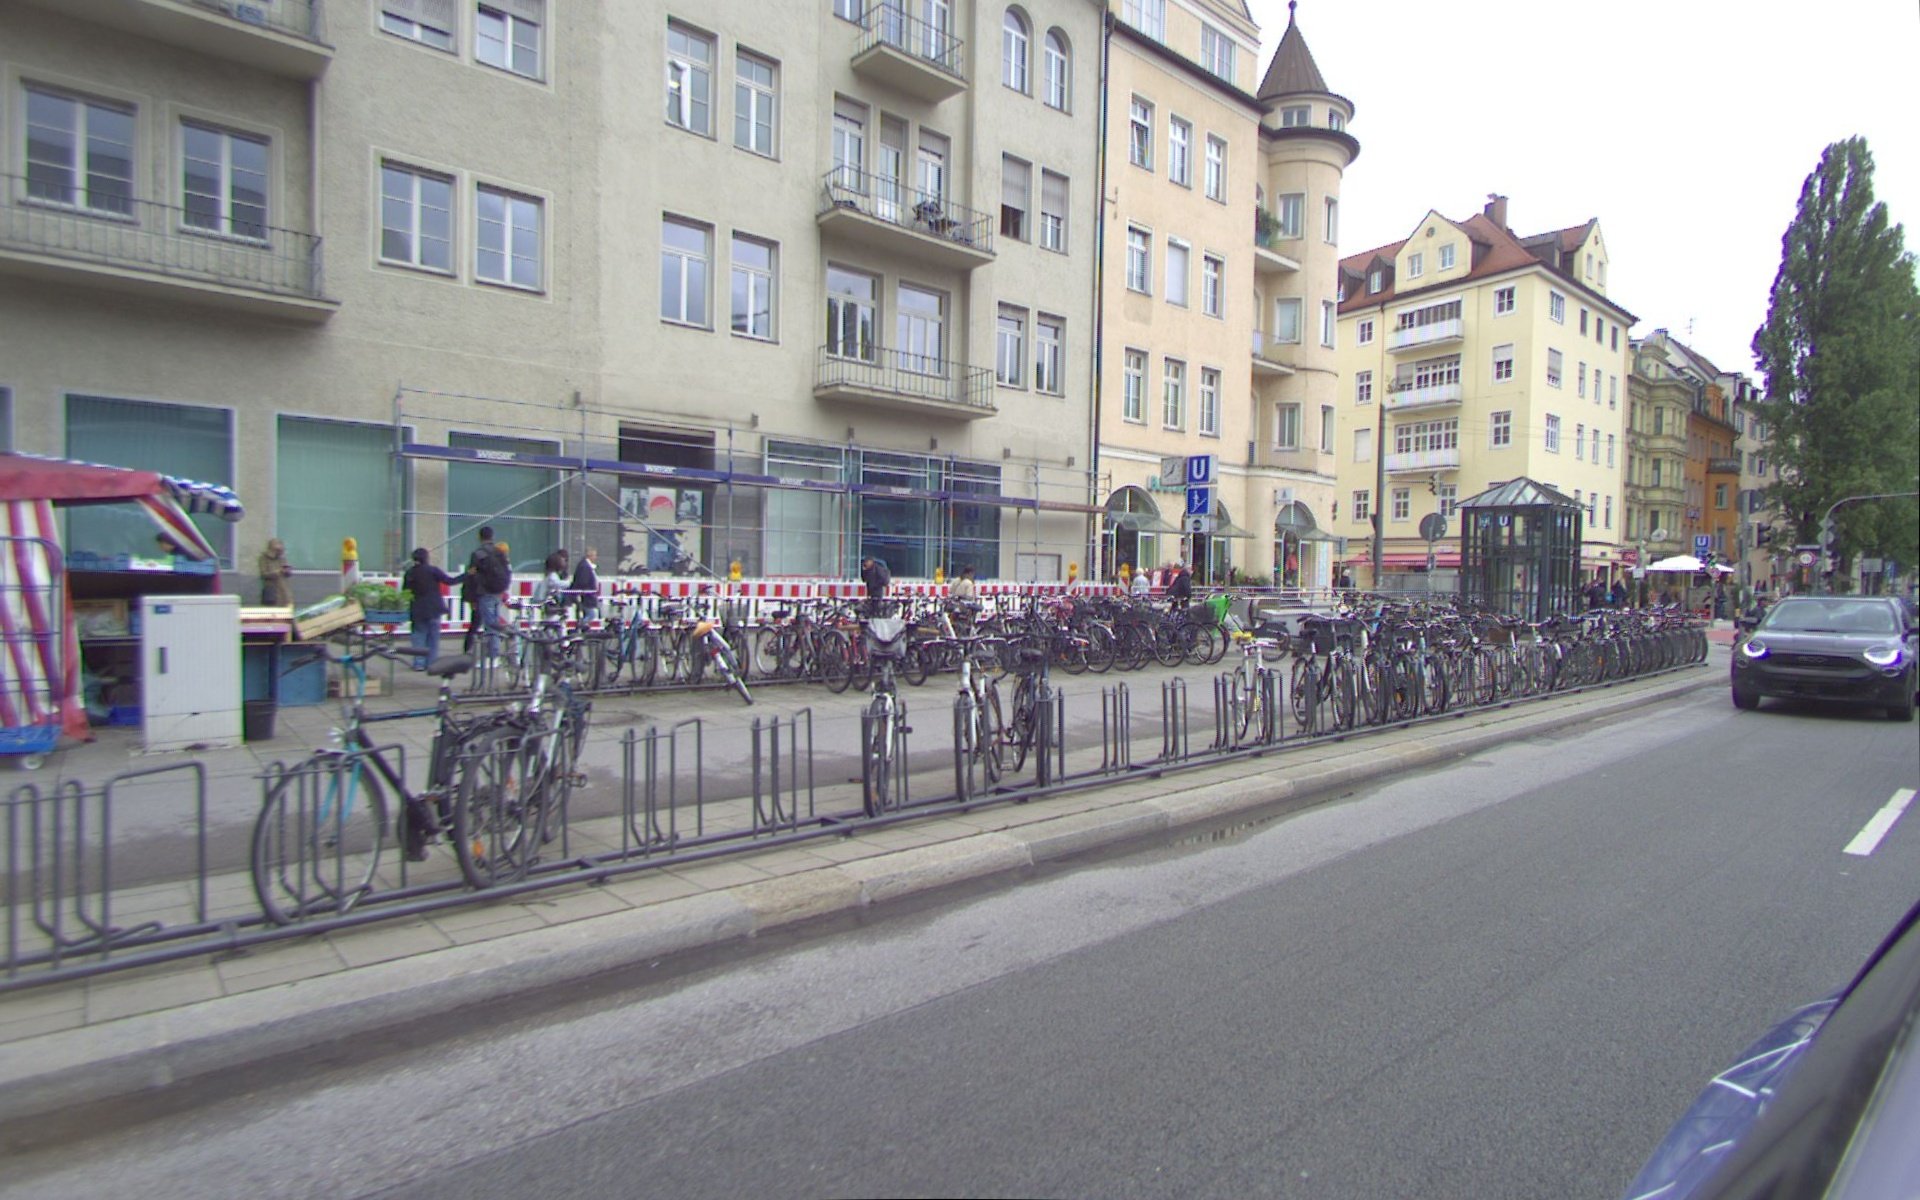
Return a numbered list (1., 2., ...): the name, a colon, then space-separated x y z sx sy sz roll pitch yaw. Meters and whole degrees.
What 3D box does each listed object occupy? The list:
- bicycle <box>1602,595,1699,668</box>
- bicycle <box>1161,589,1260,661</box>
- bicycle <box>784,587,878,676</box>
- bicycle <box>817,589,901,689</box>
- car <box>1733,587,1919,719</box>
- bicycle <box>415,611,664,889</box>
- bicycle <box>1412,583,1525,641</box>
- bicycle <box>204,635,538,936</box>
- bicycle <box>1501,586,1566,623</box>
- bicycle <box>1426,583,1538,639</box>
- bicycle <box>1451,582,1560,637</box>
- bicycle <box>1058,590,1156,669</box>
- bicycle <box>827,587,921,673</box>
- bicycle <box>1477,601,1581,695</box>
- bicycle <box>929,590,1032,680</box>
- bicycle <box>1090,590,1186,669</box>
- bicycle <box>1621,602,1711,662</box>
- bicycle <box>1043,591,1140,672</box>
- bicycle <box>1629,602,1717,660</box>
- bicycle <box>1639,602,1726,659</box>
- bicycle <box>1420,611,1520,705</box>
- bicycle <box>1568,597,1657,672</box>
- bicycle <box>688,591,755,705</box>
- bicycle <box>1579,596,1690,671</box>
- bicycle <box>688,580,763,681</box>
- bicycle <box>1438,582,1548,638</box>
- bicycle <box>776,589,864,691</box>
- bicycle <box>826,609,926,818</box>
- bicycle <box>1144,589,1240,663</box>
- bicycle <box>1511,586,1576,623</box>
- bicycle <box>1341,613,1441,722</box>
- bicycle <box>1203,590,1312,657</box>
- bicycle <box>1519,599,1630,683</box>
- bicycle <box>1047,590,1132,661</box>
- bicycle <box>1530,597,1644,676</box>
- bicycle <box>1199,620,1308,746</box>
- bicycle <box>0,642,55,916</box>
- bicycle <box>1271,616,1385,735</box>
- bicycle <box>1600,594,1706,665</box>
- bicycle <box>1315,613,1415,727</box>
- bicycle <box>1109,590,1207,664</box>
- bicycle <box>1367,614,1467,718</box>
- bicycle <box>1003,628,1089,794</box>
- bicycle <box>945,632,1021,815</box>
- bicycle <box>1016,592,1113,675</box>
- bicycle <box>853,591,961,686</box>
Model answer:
1. bicycle: 11.713 0.506 17.222 0.469 1.151 1.679 0 1 -2
2. bicycle: 4.184 0.394 17.031 0.403 1.091 1.654 -1 3 -42
3. bicycle: -1.785 0.407 13.860 1.447 1.091 0.404 4 3 41
4. bicycle: -1.271 0.448 12.464 0.402 1.091 1.454 0 3 -32
5. car: 11.931 0.585 13.584 3.980 1.488 1.738 -1 1 -42
6. bicycle: -1.964 0.632 5.001 0.536 1.119 1.802 0 -2 -2
7. bicycle: 12.002 0.246 23.955 0.617 1.242 2.318 0 2 -38
8. bicycle: -2.495 0.697 4.547 0.360 1.068 1.799 0 -2 3
9. bicycle: 19.123 0.147 33.791 0.597 1.141 1.828 1 1 -28
10. bicycle: 12.507 0.235 24.322 0.617 1.242 2.318 0 2 -38
11. bicycle: 13.542 0.208 25.200 0.617 1.242 2.318 0 2 -38
12. bicycle: 2.262 0.436 15.765 0.403 1.091 1.662 0 3 -38
13. bicycle: -1.222 0.397 14.156 1.447 1.091 0.404 4 3 41
14. bicycle: 7.703 0.611 13.774 0.481 1.151 1.794 0 1 3
15. bicycle: 0.258 0.441 13.625 1.447 1.091 0.404 4 3 41
16. bicycle: 2.754 0.430 15.840 0.402 1.091 1.640 0 3 -36
17. bicycle: 13.218 0.597 19.007 0.390 1.073 1.851 0 -2 2
18. bicycle: 1.956 0.450 15.204 0.403 1.091 1.527 -1 3 -42
19. bicycle: 13.737 0.595 19.558 0.390 1.073 1.851 0 -2 2
20. bicycle: 14.229 0.601 19.982 0.390 1.073 1.851 0 -2 2
21. bicycle: 6.210 0.687 12.421 0.390 1.073 1.849 0 -2 4
22. bicycle: 10.597 0.532 16.484 0.341 1.151 1.527 0 1 -5
23. bicycle: -2.617 0.485 11.025 0.402 1.091 1.477 0 3 -25
24. bicycle: 11.061 0.523 16.663 0.468 1.151 1.681 0 1 -11
25. bicycle: -2.958 0.346 12.690 0.402 1.116 1.636 0 3 -32
26. bicycle: 12.999 0.222 24.750 0.617 1.242 2.318 0 2 -38
27. bicycle: -1.720 0.451 12.272 0.402 1.091 1.484 0 3 -35
28. bicycle: -0.489 0.636 6.352 0.536 1.119 1.802 0 -2 -2
29. bicycle: 3.821 0.402 16.772 0.403 1.091 1.604 -1 3 -42
30. bicycle: 19.661 0.135 34.142 0.597 1.141 1.828 1 1 -28
31. bicycle: 4.626 0.697 10.973 0.390 1.073 1.849 0 -2 4
32. bicycle: 5.151 0.406 17.550 1.728 1.091 0.410 1 2 0
33. bicycle: 9.126 0.572 15.113 0.480 1.151 1.797 0 1 -3
34. bicycle: 2.181 0.407 17.223 0.403 1.091 1.528 -1 3 -42
35. bicycle: 9.949 0.544 16.135 0.578 1.151 1.798 0 1 -5
36. bicycle: 2.597 0.691 9.122 0.379 1.023 1.802 0 -1 -2
37. bicycle: -3.980 0.679 3.271 0.536 1.068 1.802 0 -2 -3
38. bicycle: 3.596 0.698 10.032 0.390 1.073 1.802 0 -1 -2
39. bicycle: 12.171 0.490 17.842 0.468 1.151 1.788 0 1 -7
40. bicycle: 4.149 0.686 10.487 0.390 1.073 1.849 0 -2 4
41. bicycle: 3.210 0.412 16.531 0.403 1.091 1.624 -1 3 -42
42. bicycle: 5.110 0.709 11.424 0.390 1.073 1.849 0 -2 4
43. bicycle: 0.575 0.721 7.245 0.379 1.023 1.802 0 -1 -2
44. bicycle: 0.118 0.736 6.706 0.379 1.023 1.802 0 -1 -2
45. bicycle: 1.510 0.461 14.835 0.403 1.091 1.538 -1 3 -42
46. bicycle: -0.688 0.464 12.922 1.445 1.091 0.405 3 3 37
